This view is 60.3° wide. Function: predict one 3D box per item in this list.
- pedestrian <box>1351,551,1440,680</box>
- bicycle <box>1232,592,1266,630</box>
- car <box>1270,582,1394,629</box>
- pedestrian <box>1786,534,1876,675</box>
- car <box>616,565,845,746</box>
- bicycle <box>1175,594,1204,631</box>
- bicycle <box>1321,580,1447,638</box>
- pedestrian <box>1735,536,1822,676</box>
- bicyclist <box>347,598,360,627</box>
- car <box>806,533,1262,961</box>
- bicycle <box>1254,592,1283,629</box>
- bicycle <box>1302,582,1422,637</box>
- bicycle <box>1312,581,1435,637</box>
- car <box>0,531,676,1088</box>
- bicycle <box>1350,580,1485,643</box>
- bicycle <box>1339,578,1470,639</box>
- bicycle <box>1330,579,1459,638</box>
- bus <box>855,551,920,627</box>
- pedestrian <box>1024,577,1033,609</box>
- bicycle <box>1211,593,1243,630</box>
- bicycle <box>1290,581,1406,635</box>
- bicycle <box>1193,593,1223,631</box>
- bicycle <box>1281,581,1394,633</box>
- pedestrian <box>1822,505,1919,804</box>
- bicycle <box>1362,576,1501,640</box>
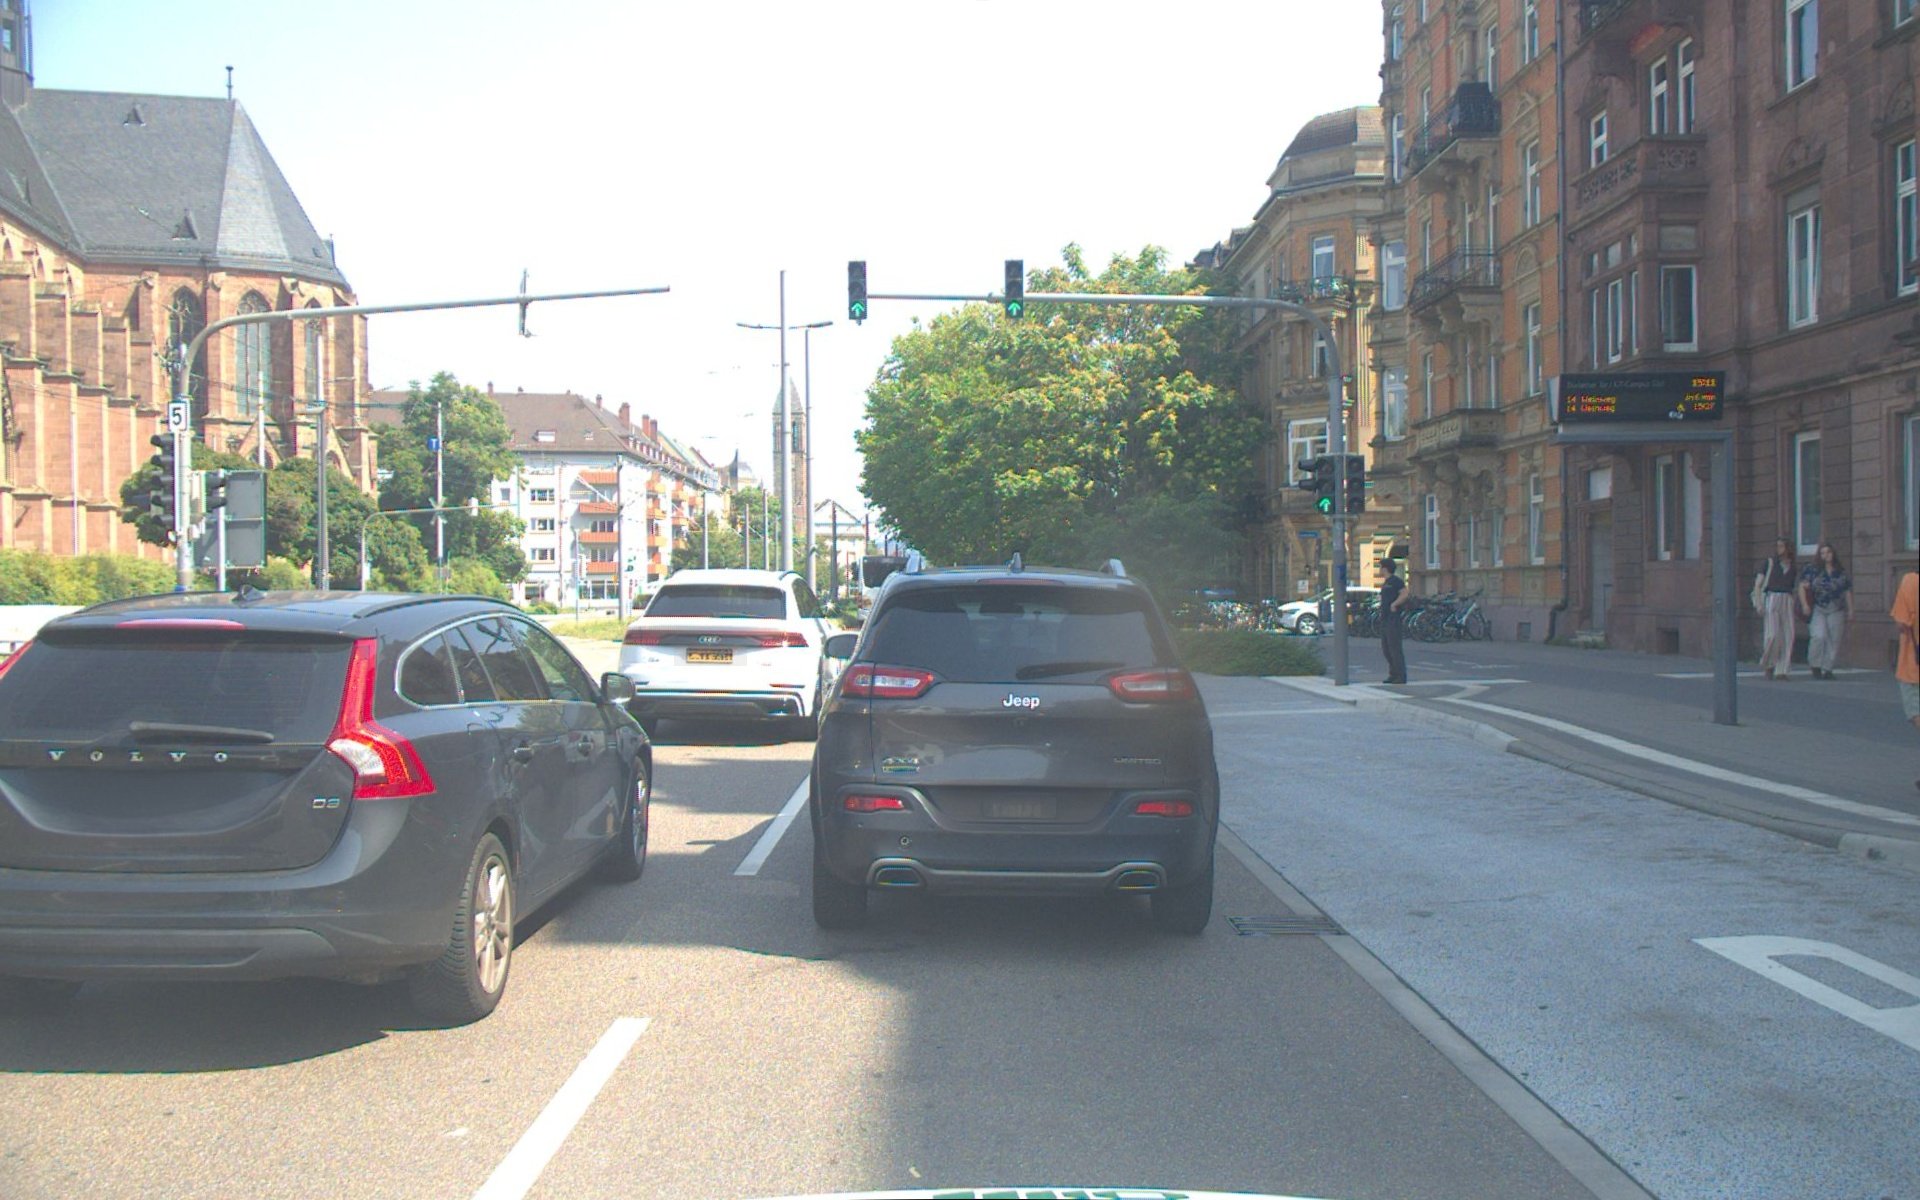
[{"bbox_3d":[6.187,0.221,23.498,0.760,1.771,0.890,-2,0,-36],"label":"pedestrian"},{"bbox_3d":[10.229,0.380,58.617,0.747,1.275,3.014,-1,0,2],"label":"bicycle"},{"bbox_3d":[12.942,0.190,57.676,3.858,1.547,1.680,-1,0,-8],"label":"car"},{"bbox_3d":[11.483,0.059,21.821,0.700,1.809,0.870,-1,0,-2],"label":"pedestrian"},{"bbox_3d":[-2.286,0.499,17.553,1.863,1.680,4.308,0,0,-1],"label":"car"},{"bbox_3d":[8.123,0.418,58.596,0.636,1.275,3.014,-1,0,1],"label":"bicycle"},{"bbox_3d":[10.724,0.226,41.873,2.943,1.397,0.947,-1,0,-2],"label":"bicycle"},{"bbox_3d":[10.767,0.076,21.773,0.700,1.807,0.847,-1,0,-2],"label":"pedestrian"},{"bbox_3d":[-28.410,0.590,77.524,0.439,1.344,0.425,-1,0,0],"label":"bicyclist"},{"bbox_3d":[0.308,0.569,8.724,1.795,1.680,4.308,1,0,0],"label":"car"},{"bbox_3d":[11.011,0.364,59.063,0.644,1.271,2.413,-1,0,2],"label":"bicycle"},{"bbox_3d":[10.668,0.237,43.978,2.943,1.397,0.947,-1,0,-2],"label":"bicycle"},{"bbox_3d":[10.720,0.224,42.968,2.943,1.397,0.947,-1,0,-2],"label":"bicycle"},{"bbox_3d":[-2.422,0.607,7.055,1.712,1.642,4.308,1,0,-1],"label":"car"},{"bbox_3d":[10.780,0.264,39.070,2.933,1.395,0.871,-1,0,-2],"label":"bicycle"},{"bbox_3d":[10.727,0.208,39.982,2.933,1.395,0.871,-1,0,-2],"label":"bicycle"},{"bbox_3d":[10.737,0.206,40.930,2.933,1.395,0.871,-1,0,-2],"label":"bicycle"},{"bbox_3d":[-3.253,-0.452,75.450,2.688,3.161,11.950,1,0,-2],"label":"bus"},{"bbox_3d":[4.372,-0.443,105.727,0.518,2.049,0.532,-1,0,-3],"label":"pedestrian"},{"bbox_3d":[9.456,0.394,58.591,0.717,1.275,3.014,-1,0,2],"label":"bicycle"},{"bbox_3d":[10.612,0.217,45.294,2.943,1.397,0.947,-1,0,-2],"label":"bicycle"},{"bbox_3d":[8.770,0.404,58.582,0.636,1.275,3.014,-1,0,1],"label":"bicycle"},{"bbox_3d":[10.557,0.196,46.335,2.943,1.397,0.947,-1,0,-2],"label":"bicycle"},{"bbox_3d":[6.156,0.330,10.362,0.943,1.771,1.240,0,-1,7],"label":"pedestrian"},{"bbox_3d":[10.862,0.172,38.165,2.933,1.395,0.871,-1,0,-2],"label":"bicycle"}]
